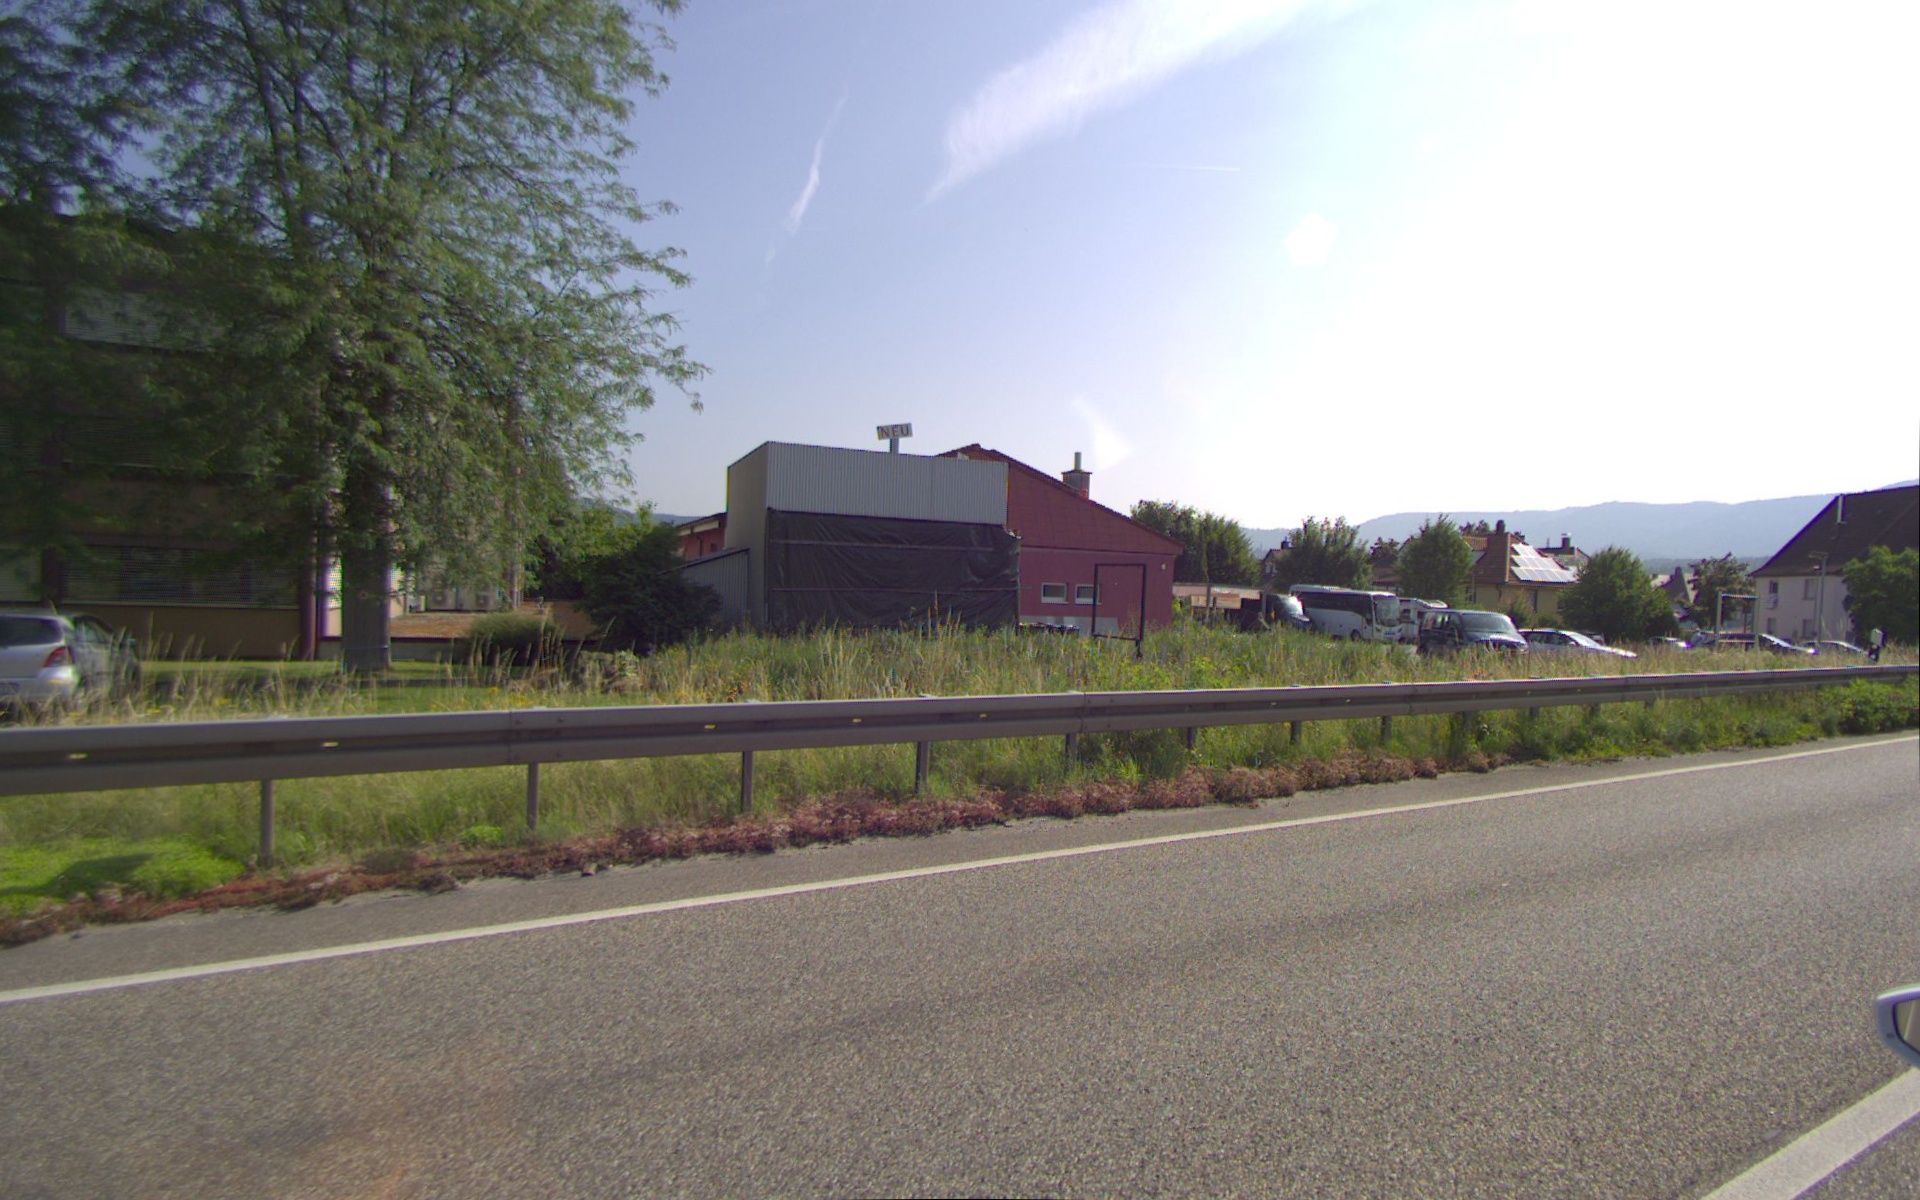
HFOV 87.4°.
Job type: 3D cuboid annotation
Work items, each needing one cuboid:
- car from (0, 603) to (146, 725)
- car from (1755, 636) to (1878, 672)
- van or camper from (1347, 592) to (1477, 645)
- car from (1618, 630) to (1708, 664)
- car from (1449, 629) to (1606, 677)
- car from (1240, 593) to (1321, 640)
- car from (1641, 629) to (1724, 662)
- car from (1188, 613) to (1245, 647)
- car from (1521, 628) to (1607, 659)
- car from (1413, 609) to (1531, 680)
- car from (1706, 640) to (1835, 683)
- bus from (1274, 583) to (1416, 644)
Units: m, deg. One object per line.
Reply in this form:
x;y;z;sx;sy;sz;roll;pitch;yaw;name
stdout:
-13.355;0.844;14.466;1.839;1.479;3.731;2;0;-29;car
42.286;2.631;49.668;1.853;1.524;4.277;1;0;-31;car
28.102;1.072;62.846;2.710;2.880;7.372;2;1;-25;van or camper
46.401;3.068;66.432;1.833;1.655;4.553;4;3;-18;car
20.100;1.826;35.754;1.726;1.400;4.583;1;0;-36;car
20.123;0.996;63.302;1.837;2.696;5.006;1;2;-25;car
49.131;3.087;68.423;1.835;1.655;4.149;4;3;-21;car
9.407;1.091;36.777;1.993;1.161;0.810;3;0;-30;car
39.592;2.840;65.972;1.835;1.655;4.548;4;0;-22;car
16.359;1.348;32.404;1.959;2.040;4.908;1;0;9;car
37.170;2.791;46.167;1.855;1.687;4.271;1;0;-35;car
23.991;0.704;63.220;2.628;3.400;9.071;0;2;-25;bus
